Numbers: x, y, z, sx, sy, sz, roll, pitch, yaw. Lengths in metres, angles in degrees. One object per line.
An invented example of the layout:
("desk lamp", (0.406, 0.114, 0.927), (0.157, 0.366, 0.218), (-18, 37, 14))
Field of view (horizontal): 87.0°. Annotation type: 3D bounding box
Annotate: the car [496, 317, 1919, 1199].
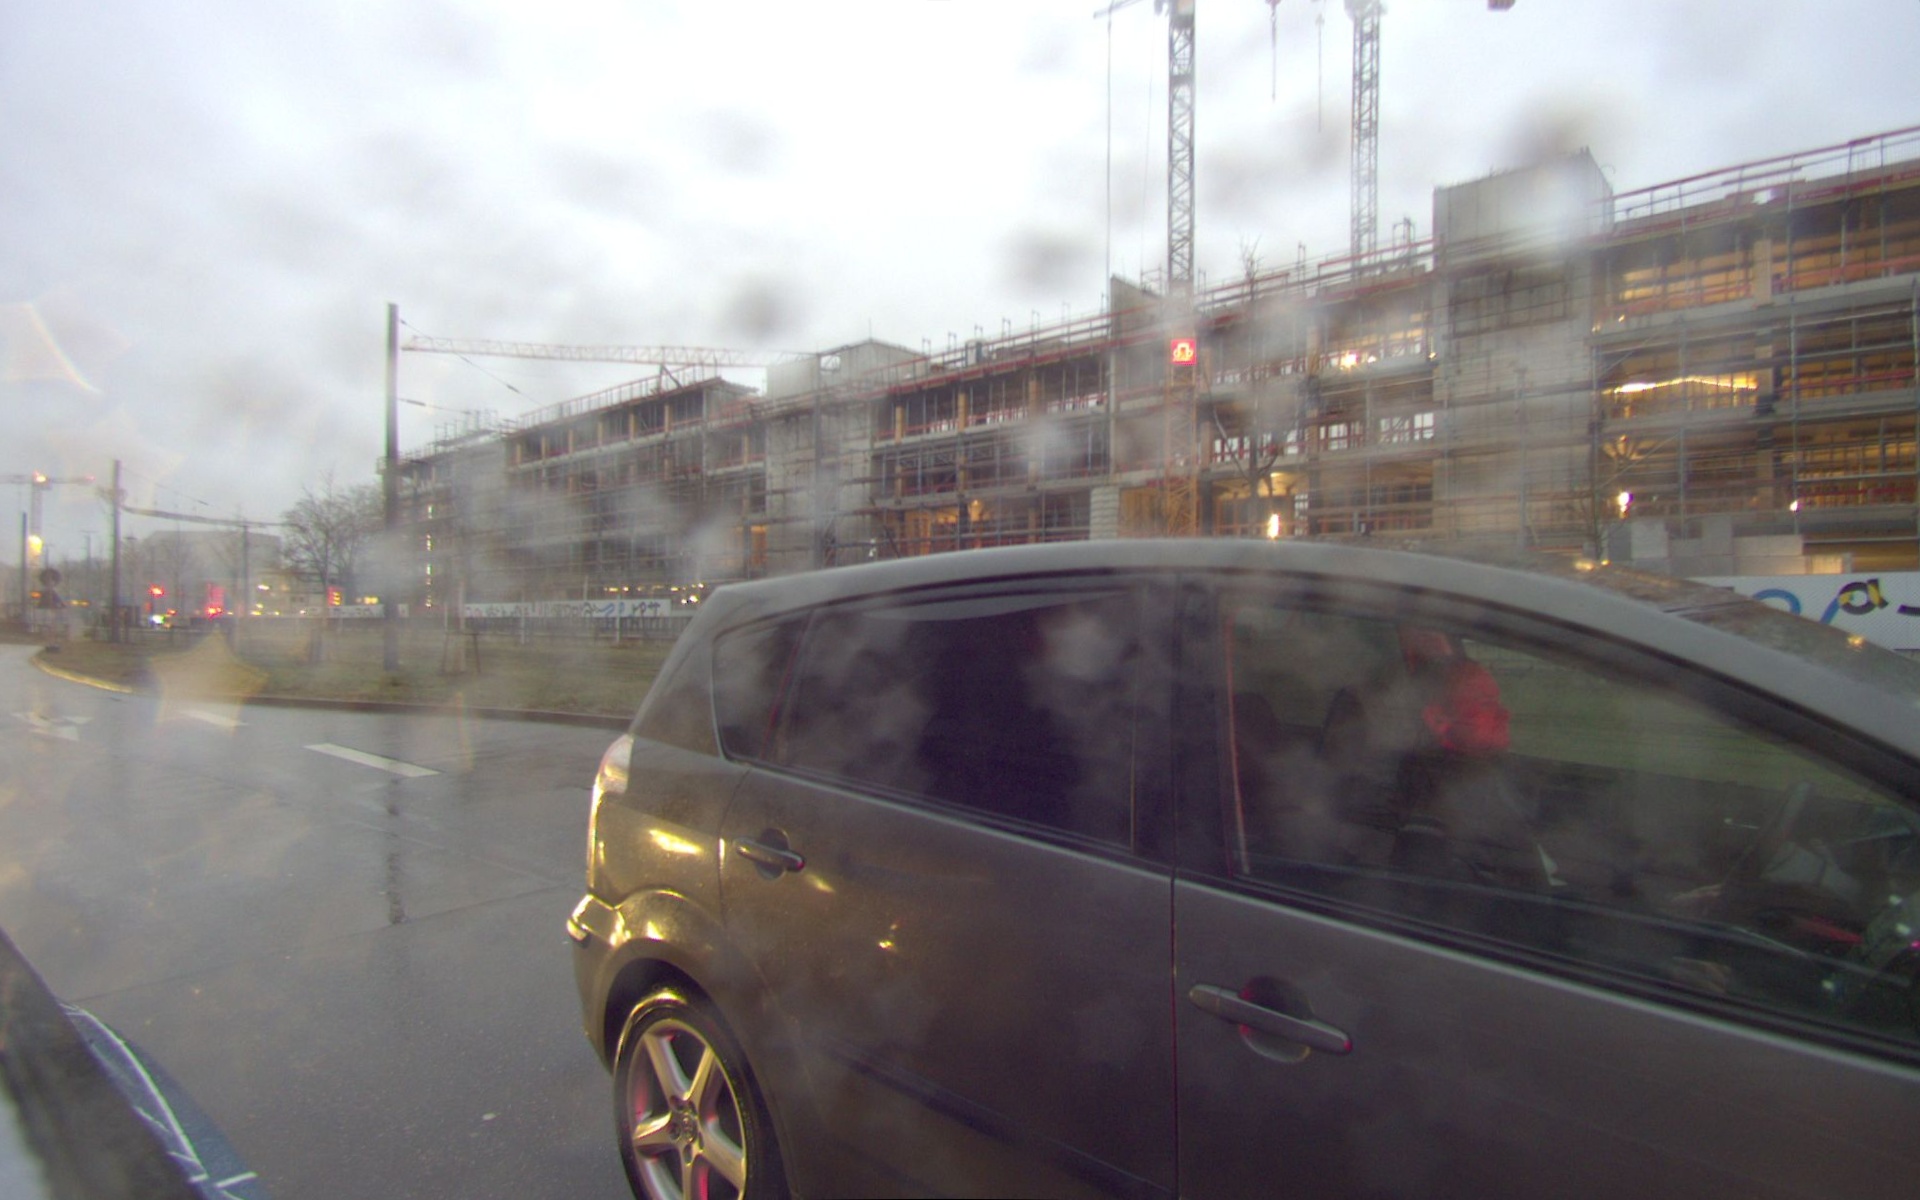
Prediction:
("car", (1.012, 0.595, 1.882), (4.131, 1.659, 1.793), (-1, -1, 39))
